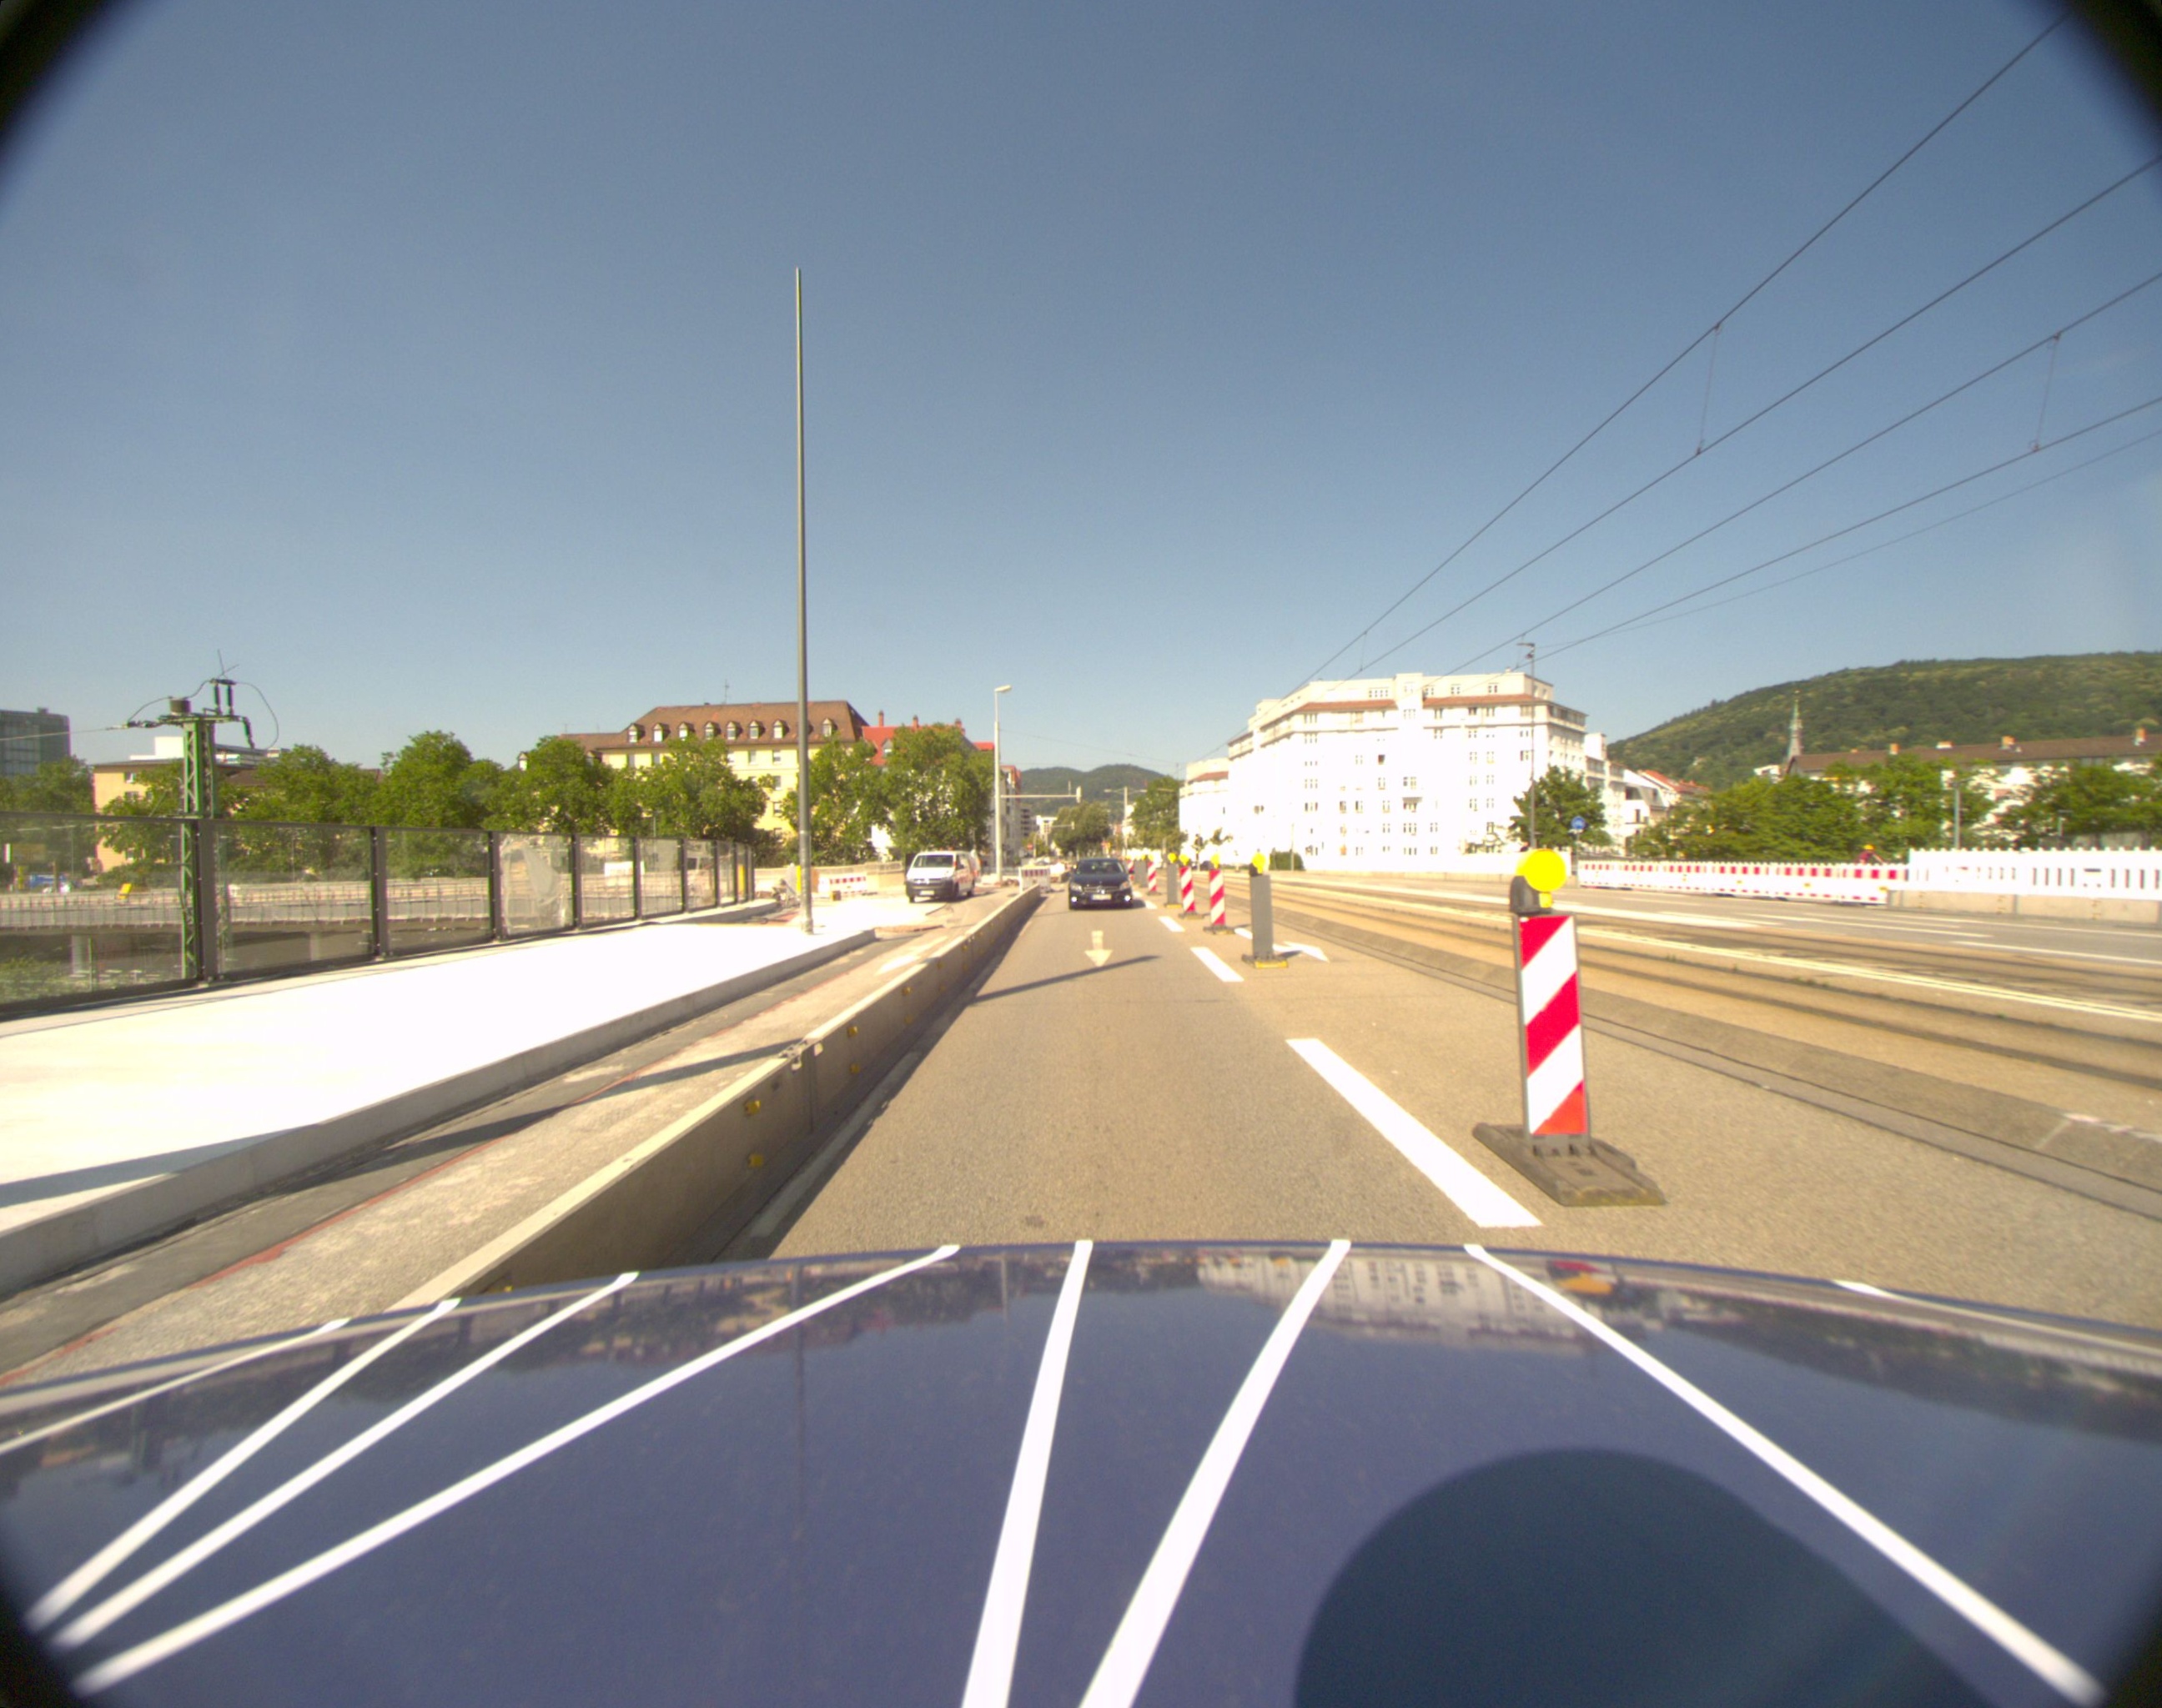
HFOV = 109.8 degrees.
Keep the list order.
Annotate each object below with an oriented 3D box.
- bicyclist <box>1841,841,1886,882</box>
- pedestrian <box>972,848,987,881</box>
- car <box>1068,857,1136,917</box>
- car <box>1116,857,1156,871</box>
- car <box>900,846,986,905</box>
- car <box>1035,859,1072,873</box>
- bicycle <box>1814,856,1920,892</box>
[{"bbox_3d":[29.666,0.279,28.804,0.858,1.510,0.817,-2,1,0],"label":"bicyclist"},{"bbox_3d":[-6.161,0.646,45.997,0.761,1.973,0.843,1,2,1],"label":"pedestrian"},{"bbox_3d":[0.570,0.847,21.756,1.698,1.388,4.362,-2,1,1],"label":"car"},{"bbox_3d":[6.088,1.105,84.416,3.989,1.477,1.806,-1,0,30],"label":"car"},{"bbox_3d":[-5.436,0.754,30.940,1.937,2.078,6.470,-1,1,3],"label":"car"},{"bbox_3d":[-3.116,1.387,86.782,3.996,1.477,2.041,-2,0,4],"label":"car"},{"bbox_3d":[29.670,0.724,28.779,0.858,1.188,3.072,-2,1,1],"label":"bicycle"}]
